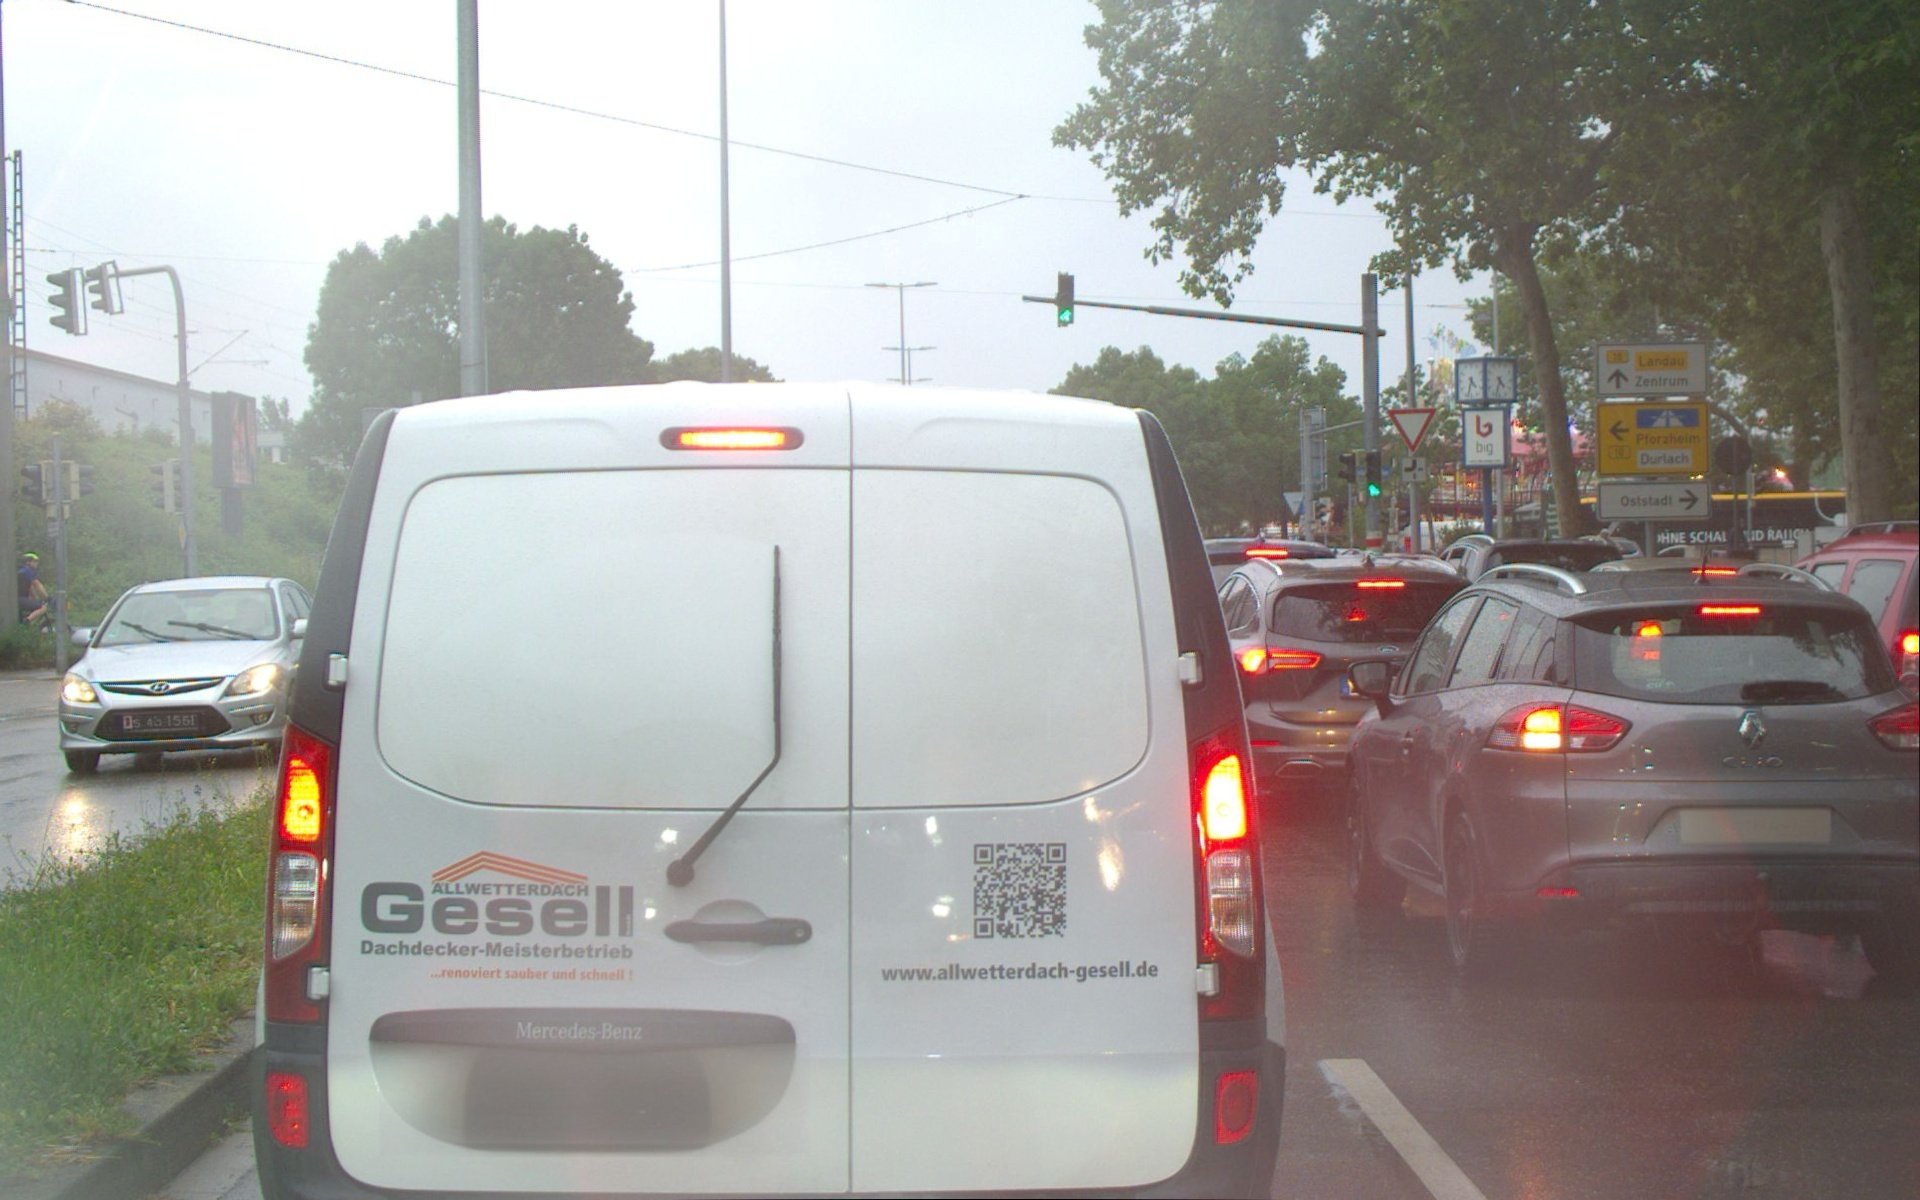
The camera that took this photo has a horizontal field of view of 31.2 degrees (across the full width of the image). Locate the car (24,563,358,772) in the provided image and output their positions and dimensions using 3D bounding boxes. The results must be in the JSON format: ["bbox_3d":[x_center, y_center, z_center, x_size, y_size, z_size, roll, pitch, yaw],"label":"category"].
[{"bbox_3d":[-6.102,0.482,27.717,1.816,1.457,4.000,-3,1,-1],"label":"car"}]

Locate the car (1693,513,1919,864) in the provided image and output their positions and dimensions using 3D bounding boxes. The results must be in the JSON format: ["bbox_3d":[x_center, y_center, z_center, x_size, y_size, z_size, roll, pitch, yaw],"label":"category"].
[{"bbox_3d":[5.336,0.428,18.702,1.710,1.688,4.272,1,0,-1],"label":"car"}]

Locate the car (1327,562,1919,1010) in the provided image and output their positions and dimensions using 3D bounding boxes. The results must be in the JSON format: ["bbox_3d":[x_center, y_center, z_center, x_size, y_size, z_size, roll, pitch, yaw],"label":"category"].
[{"bbox_3d":[2.498,0.588,13.108,1.683,1.403,3.843,1,1,-1],"label":"car"}]

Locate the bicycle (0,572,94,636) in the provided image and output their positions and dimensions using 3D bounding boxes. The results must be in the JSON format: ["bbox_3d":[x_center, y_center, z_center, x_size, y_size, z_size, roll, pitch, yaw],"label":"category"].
[{"bbox_3d":[-14.808,0.055,55.583,1.040,0.949,2.889,-2,2,-25],"label":"bicycle"}]

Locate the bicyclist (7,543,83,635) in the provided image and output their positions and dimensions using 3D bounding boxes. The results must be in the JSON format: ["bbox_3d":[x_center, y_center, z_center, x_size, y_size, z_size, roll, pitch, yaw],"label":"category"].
[{"bbox_3d":[-14.767,-0.189,55.483,1.040,1.445,0.729,-2,2,-25],"label":"bicyclist"}]

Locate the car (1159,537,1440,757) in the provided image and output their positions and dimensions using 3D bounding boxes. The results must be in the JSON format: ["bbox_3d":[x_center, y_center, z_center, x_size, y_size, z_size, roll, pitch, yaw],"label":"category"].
[{"bbox_3d":[2.673,0.319,27.865,1.854,1.644,3.843,0,1,-1],"label":"car"}]

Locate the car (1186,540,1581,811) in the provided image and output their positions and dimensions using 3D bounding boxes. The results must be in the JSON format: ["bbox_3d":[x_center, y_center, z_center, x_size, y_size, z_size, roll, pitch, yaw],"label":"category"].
[{"bbox_3d":[2.432,0.379,20.637,1.854,1.455,3.843,0,1,-1],"label":"car"}]

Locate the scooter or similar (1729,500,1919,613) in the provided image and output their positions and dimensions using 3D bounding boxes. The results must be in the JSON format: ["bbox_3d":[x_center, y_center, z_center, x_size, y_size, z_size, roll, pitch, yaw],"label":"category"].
[{"bbox_3d":[19.989,-0.988,77.065,1.890,2.437,5.316,-1,1,-41],"label":"scooter or similar"}]

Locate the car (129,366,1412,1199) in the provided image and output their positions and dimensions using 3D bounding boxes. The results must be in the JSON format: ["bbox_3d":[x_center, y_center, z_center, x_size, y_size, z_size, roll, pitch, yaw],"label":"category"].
[{"bbox_3d":[-0.317,0.475,7.656,1.993,1.770,4.585,0,1,-1],"label":"car"}]

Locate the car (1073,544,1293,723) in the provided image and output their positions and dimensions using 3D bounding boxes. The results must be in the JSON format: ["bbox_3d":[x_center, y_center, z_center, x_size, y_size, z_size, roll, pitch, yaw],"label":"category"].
[{"bbox_3d":[2.115,0.291,33.594,1.854,1.644,3.843,0,1,-1],"label":"car"}]

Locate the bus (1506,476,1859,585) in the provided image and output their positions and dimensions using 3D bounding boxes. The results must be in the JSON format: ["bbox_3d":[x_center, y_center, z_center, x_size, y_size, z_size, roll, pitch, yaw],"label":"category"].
[{"bbox_3d":[24.549,-2.391,116.670,11.967,3.411,2.484,-2,2,-17],"label":"bus"}]

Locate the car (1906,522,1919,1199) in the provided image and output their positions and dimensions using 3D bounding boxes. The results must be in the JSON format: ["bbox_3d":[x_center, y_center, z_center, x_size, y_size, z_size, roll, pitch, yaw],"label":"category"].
[{"bbox_3d":[2.976,0.644,5.413,1.747,1.549,4.091,0,1,-1],"label":"car"}]

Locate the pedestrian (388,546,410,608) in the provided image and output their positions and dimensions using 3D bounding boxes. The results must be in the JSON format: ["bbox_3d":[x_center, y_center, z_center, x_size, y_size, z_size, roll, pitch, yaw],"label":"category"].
[{"bbox_3d":[-15.714,-0.651,96.270,0.543,1.710,0.563,1,0,-4],"label":"pedestrian"}]

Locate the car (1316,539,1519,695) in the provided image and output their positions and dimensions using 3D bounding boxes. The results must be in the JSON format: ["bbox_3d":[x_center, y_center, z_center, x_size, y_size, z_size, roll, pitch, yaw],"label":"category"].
[{"bbox_3d":[5.058,0.164,38.454,1.708,1.644,3.843,0,1,-1],"label":"car"}]

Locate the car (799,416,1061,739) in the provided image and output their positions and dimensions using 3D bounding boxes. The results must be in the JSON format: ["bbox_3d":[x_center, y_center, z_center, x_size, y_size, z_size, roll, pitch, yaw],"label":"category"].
[{"bbox_3d":[-0.236,-0.200,26.341,1.854,2.288,3.843,0,1,-1],"label":"car"}]

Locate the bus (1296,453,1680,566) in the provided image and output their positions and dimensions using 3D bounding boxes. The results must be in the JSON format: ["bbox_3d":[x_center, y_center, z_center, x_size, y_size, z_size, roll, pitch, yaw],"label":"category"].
[{"bbox_3d":[16.964,-2.921,110.879,11.970,3.411,2.315,-1,1,0],"label":"bus"}]
